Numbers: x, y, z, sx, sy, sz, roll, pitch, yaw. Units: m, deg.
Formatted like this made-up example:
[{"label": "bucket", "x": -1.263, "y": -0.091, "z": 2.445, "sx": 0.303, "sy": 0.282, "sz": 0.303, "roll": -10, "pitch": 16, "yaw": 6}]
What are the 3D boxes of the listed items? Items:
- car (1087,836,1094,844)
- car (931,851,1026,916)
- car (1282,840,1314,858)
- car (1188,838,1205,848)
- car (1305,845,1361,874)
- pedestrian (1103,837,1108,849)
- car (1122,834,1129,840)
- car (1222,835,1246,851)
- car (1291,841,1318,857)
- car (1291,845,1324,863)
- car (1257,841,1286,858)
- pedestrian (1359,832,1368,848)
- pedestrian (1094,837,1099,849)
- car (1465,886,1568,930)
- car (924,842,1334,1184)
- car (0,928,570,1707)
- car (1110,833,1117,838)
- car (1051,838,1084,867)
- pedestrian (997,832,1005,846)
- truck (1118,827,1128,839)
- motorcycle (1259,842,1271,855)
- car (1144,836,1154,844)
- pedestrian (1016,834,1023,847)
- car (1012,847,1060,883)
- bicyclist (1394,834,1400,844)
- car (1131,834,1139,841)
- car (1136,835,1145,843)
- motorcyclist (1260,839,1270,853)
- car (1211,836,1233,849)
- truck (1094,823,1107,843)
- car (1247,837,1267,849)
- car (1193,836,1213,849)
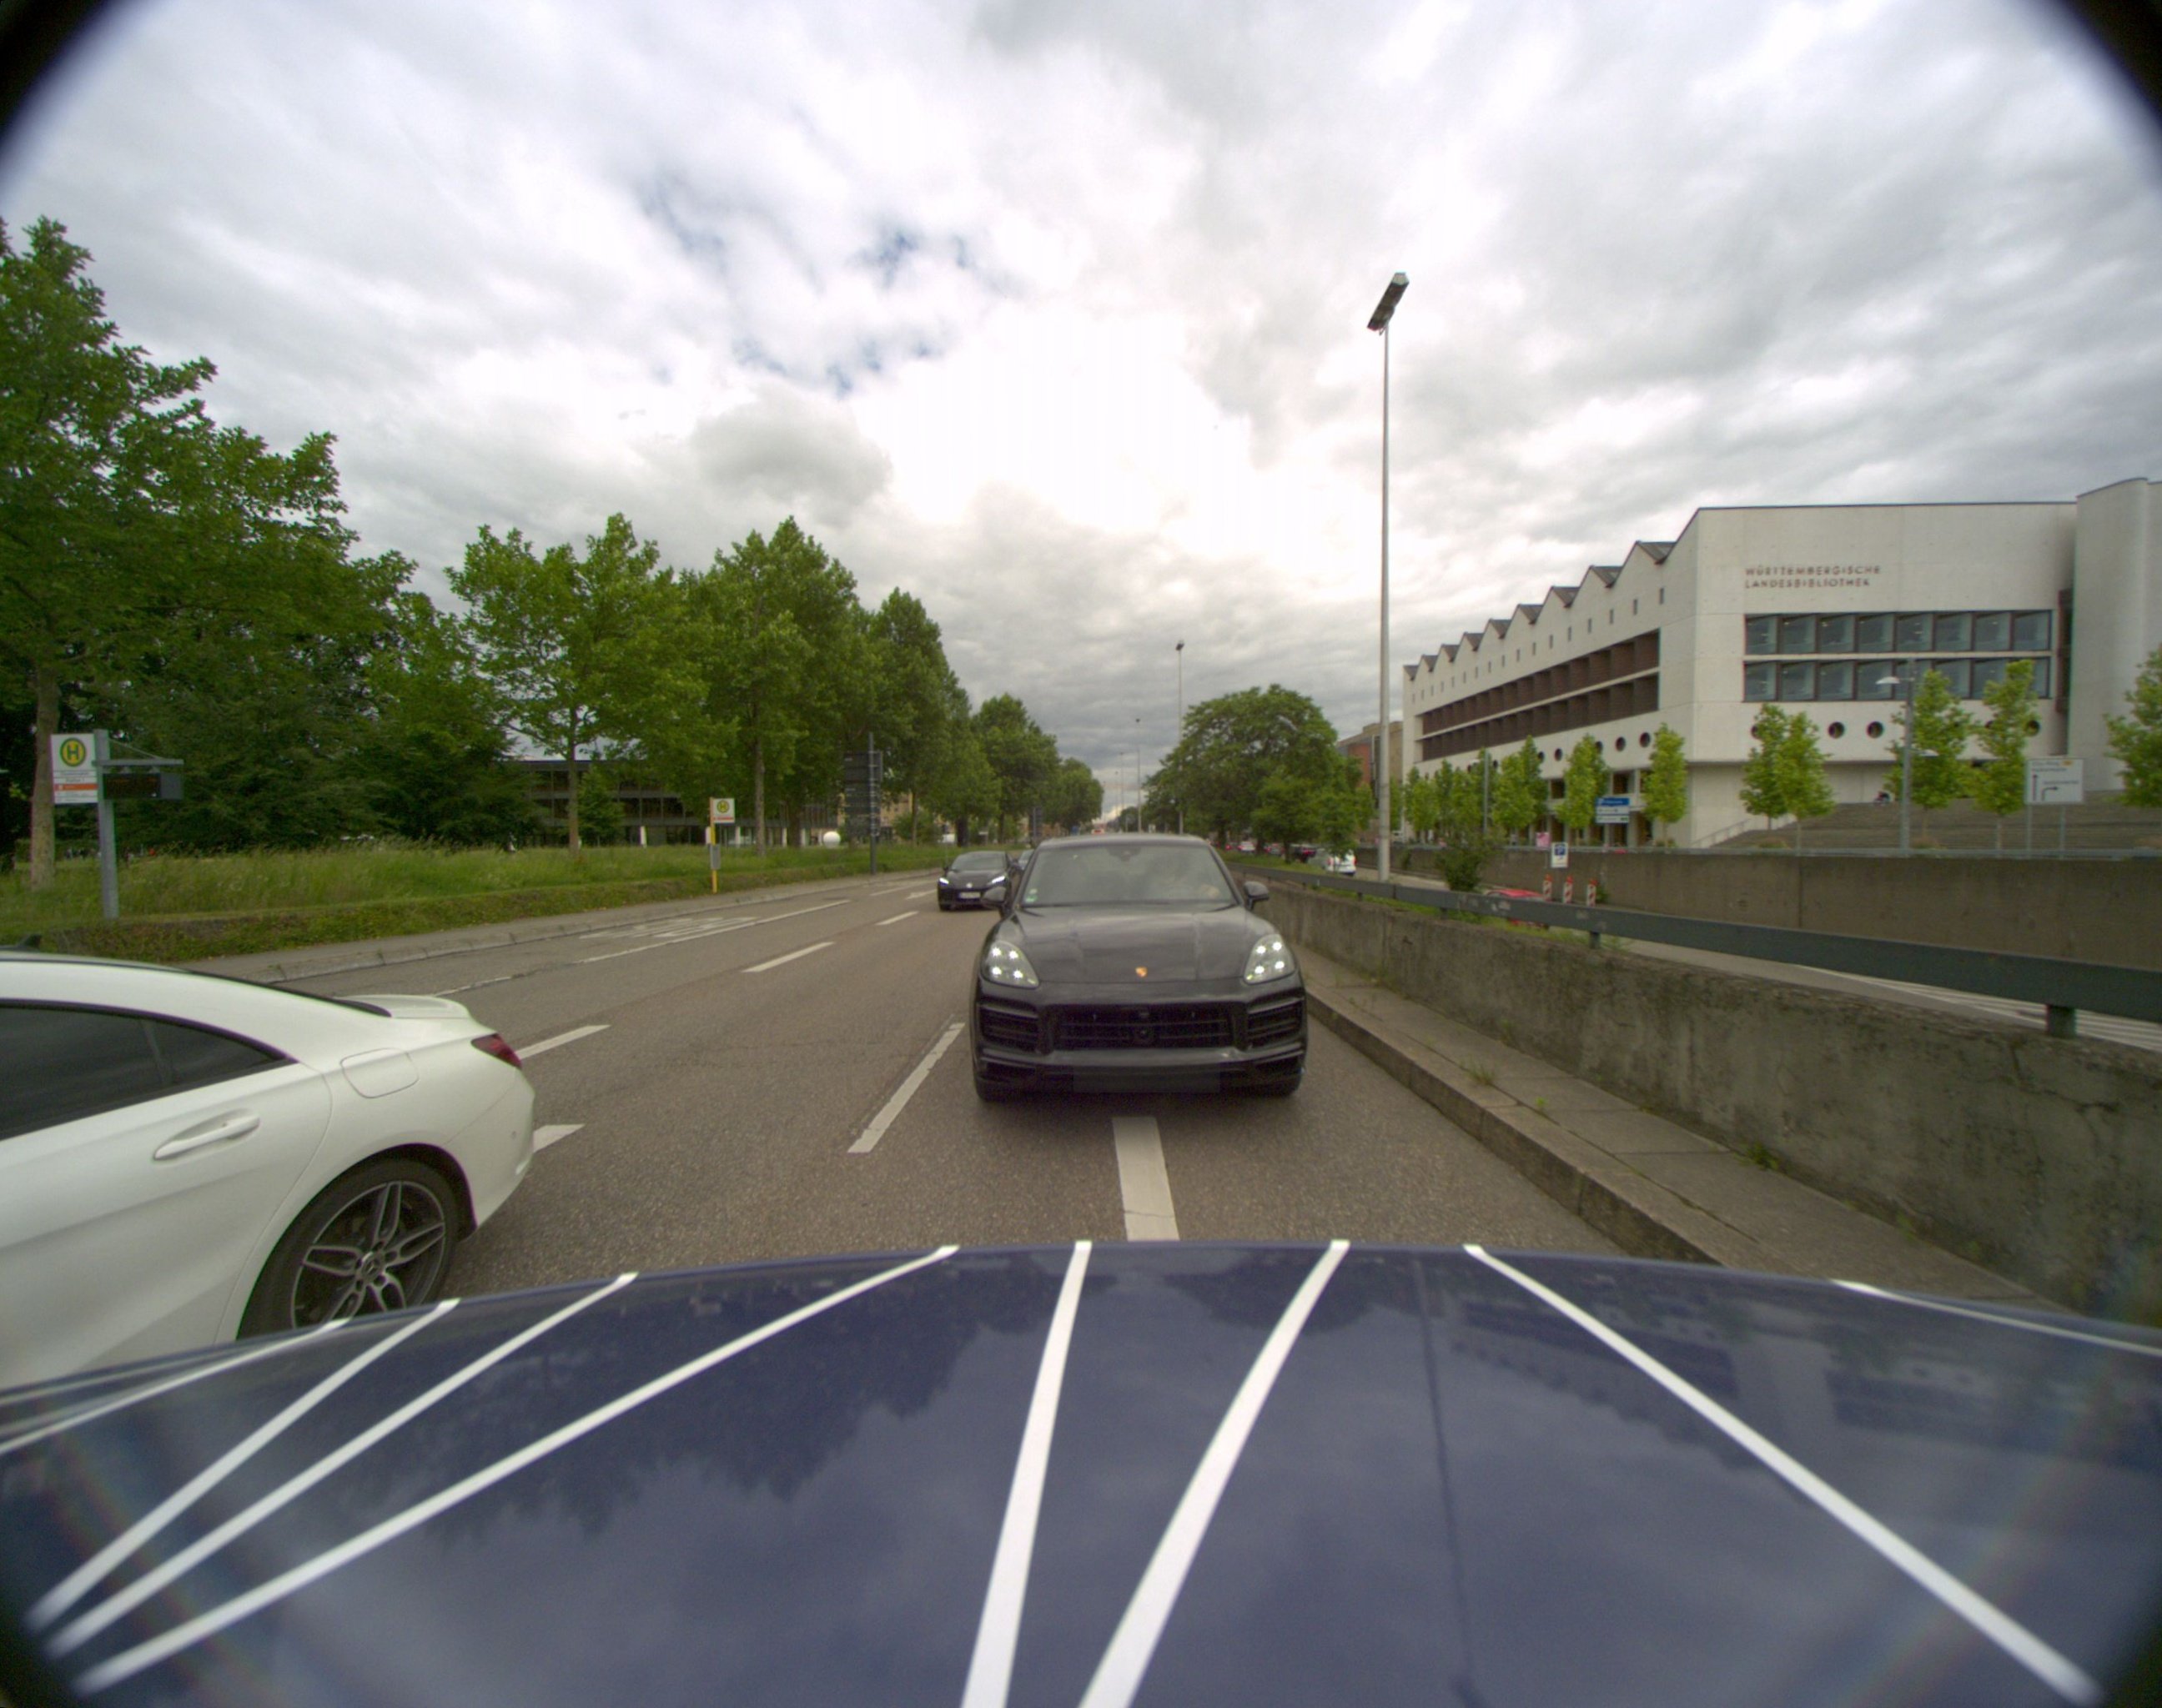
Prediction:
[{"label": "car", "x": 2.416, "y": -3.705, "z": 198.173, "sx": 1.693, "sy": 2.002, "sz": 3.999, "roll": -3, "pitch": 2, "yaw": 2}, {"label": "car", "x": -2.650, "y": 0.706, "z": 20.613, "sx": 1.852, "sy": 1.481, "sz": 4.092, "roll": -1, "pitch": 1, "yaw": 2}, {"label": "car", "x": 21.306, "y": -0.520, "z": 74.620, "sx": 1.780, "sy": 1.481, "sz": 4.142, "roll": 0, "pitch": 4, "yaw": -2}, {"label": "car", "x": 17.176, "y": -1.636, "z": 113.031, "sx": 1.998, "sy": 1.390, "sz": 3.999, "roll": 2, "pitch": 1, "yaw": 0}, {"label": "car", "x": 17.753, "y": 0.311, "z": 53.787, "sx": 1.999, "sy": 1.630, "sz": 5.246, "roll": 5, "pitch": 3, "yaw": -1}, {"label": "pedestrian", "x": 4.081, "y": -1.782, "z": 125.104, "sx": 0.792, "sy": 2.002, "sz": 0.741, "roll": -1, "pitch": 0, "yaw": 2}, {"label": "car", "x": 10.506, "y": -3.935, "z": 177.917, "sx": 1.442, "sy": 1.390, "sz": 3.721, "roll": 2, "pitch": 1, "yaw": 0}, {"label": "car", "x": 17.293, "y": -1.265, "z": 86.004, "sx": 1.779, "sy": 1.481, "sz": 4.143, "roll": 0, "pitch": 4, "yaw": 0}, {"label": "car", "x": 26.183, "y": -0.657, "z": 89.125, "sx": 1.998, "sy": 1.753, "sz": 3.999, "roll": 2, "pitch": 2, "yaw": 0}, {"label": "car", "x": 20.856, "y": -0.034, "z": 70.010, "sx": 1.810, "sy": 1.321, "sz": 4.002, "roll": 0, "pitch": 4, "yaw": 0}, {"label": "car", "x": 20.634, "y": -0.539, "z": 82.608, "sx": 1.875, "sy": 1.604, "sz": 4.387, "roll": 0, "pitch": 4, "yaw": -3}, {"label": "pedestrian", "x": 35.905, "y": -1.741, "z": 96.529, "sx": 0.722, "sy": 2.002, "sz": 1.016, "roll": -3, "pitch": 2, "yaw": 2}, {"label": "pedestrian", "x": 2.598, "y": -1.822, "z": 127.712, "sx": 0.792, "sy": 2.002, "sz": 0.741, "roll": -1, "pitch": 0, "yaw": 2}, {"label": "car", "x": 17.621, "y": 2.148, "z": 31.011, "sx": 1.998, "sy": 1.477, "sz": 4.000, "roll": -1, "pitch": 1, "yaw": 2}, {"label": "car", "x": 0.354, "y": 0.731, "z": 5.964, "sx": 1.904, "sy": 1.581, "sz": 4.732, "roll": -1, "pitch": 1, "yaw": 3}, {"label": "car", "x": -3.156, "y": 1.085, "z": 0.946, "sx": 1.799, "sy": 1.412, "sz": 4.526, "roll": -1, "pitch": 1, "yaw": 2}, {"label": "car", "x": 10.864, "y": -6.260, "z": 255.065, "sx": 1.998, "sy": 1.753, "sz": 3.999, "roll": 2, "pitch": 2, "yaw": 0}, {"label": "car", "x": -0.874, "y": -0.127, "z": 52.137, "sx": 2.021, "sy": 1.823, "sz": 4.804, "roll": -1, "pitch": 1, "yaw": 2}, {"label": "pedestrian", "x": -11.137, "y": -2.088, "z": 105.962, "sx": 0.892, "sy": 2.002, "sz": 1.181, "roll": -3, "pitch": 2, "yaw": 2}, {"label": "truck", "x": 11.756, "y": -5.936, "z": 214.683, "sx": 2.576, "sy": 3.289, "sz": 8.078, "roll": -3, "pitch": 2, "yaw": 2}, {"label": "motorcycle", "x": 18.084, "y": -0.574, "z": 74.715, "sx": 0.687, "sy": 1.092, "sz": 2.049, "roll": 3, "pitch": 4, "yaw": 1}, {"label": "car", "x": 11.970, "y": -2.478, "z": 134.005, "sx": 1.372, "sy": 1.390, "sz": 3.721, "roll": 2, "pitch": 1, "yaw": 0}, {"label": "pedestrian", "x": -9.800, "y": -2.130, "z": 121.503, "sx": 0.892, "sy": 2.002, "sz": 1.181, "roll": -3, "pitch": 2, "yaw": 2}, {"label": "car", "x": -1.974, "y": 0.445, "z": 34.552, "sx": 1.805, "sy": 1.426, "sz": 4.015, "roll": -1, "pitch": 1, "yaw": 2}, {"label": "bicyclist", "x": 37.926, "y": -1.811, "z": 91.224, "sx": 0.403, "sy": 1.154, "sz": 0.643, "roll": -3, "pitch": 2, "yaw": -1}, {"label": "car", "x": 11.805, "y": -3.616, "z": 164.924, "sx": 1.372, "sy": 1.389, "sz": 3.722, "roll": -1, "pitch": -1, "yaw": -1}, {"label": "car", "x": 11.242, "y": -2.891, "z": 143.769, "sx": 1.372, "sy": 1.390, "sz": 3.721, "roll": 2, "pitch": 1, "yaw": 0}, {"label": "motorcyclist", "x": 18.092, "y": -0.778, "z": 74.754, "sx": 0.671, "sy": 1.345, "sz": 0.717, "roll": 3, "pitch": 4, "yaw": 0}, {"label": "car", "x": 20.471, "y": -1.691, "z": 110.515, "sx": 2.161, "sy": 1.636, "sz": 4.515, "roll": 2, "pitch": 3, "yaw": -1}, {"label": "truck", "x": 3.672, "y": -3.886, "z": 142.568, "sx": 2.357, "sy": 3.518, "sz": 9.423, "roll": -3, "pitch": 2, "yaw": 2}, {"label": "car", "x": 26.342, "y": -1.704, "z": 113.770, "sx": 1.998, "sy": 1.753, "sz": 3.999, "roll": 2, "pitch": 2, "yaw": 0}, {"label": "car", "x": 16.525, "y": -1.572, "z": 103.241, "sx": 1.998, "sy": 1.665, "sz": 4.516, "roll": 2, "pitch": 1, "yaw": 0}]
